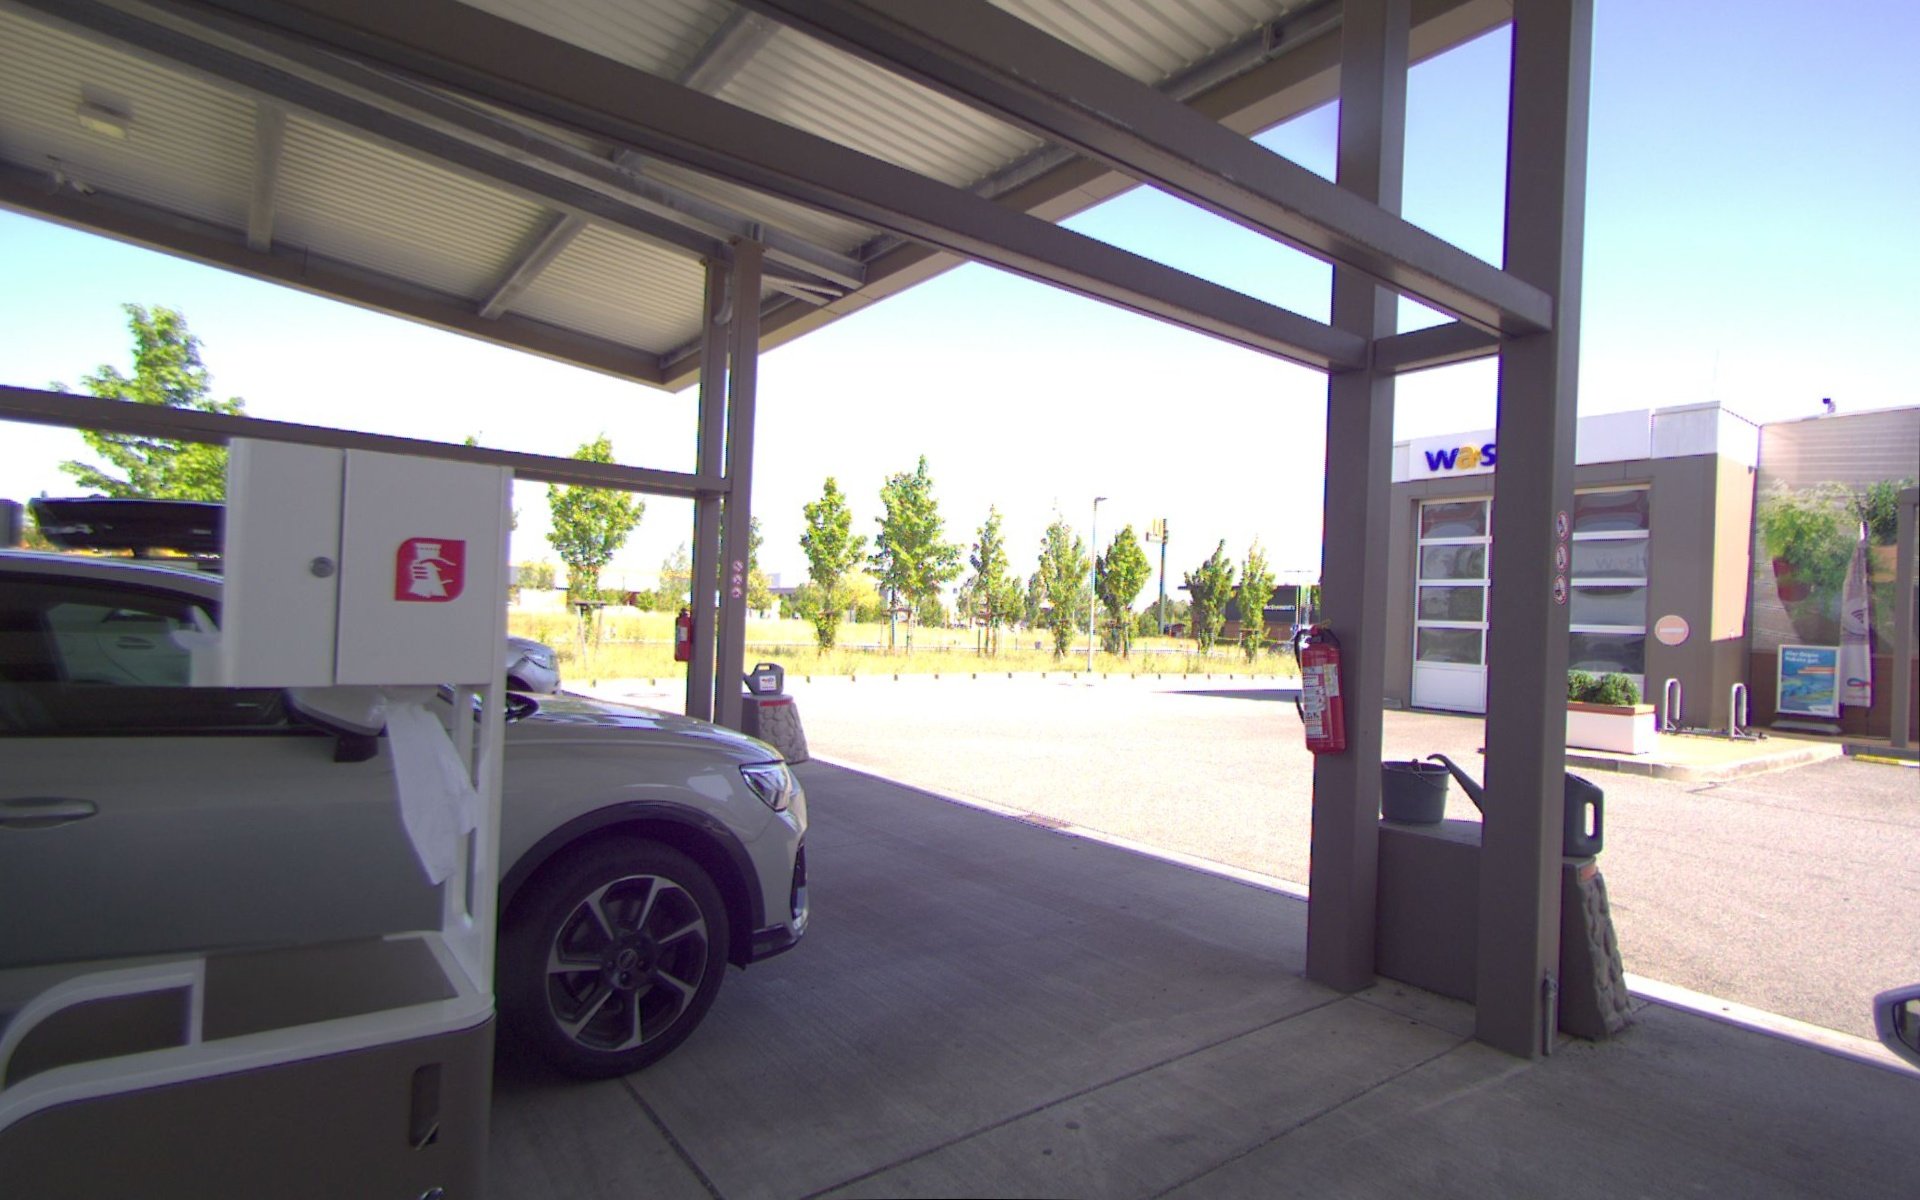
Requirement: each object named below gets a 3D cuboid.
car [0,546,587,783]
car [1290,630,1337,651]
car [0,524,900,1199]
[{"bbox_3d":[-6.033,0.524,9.253,4.501,1.710,1.843,2,-1,-41],"label":"car"},{"bbox_3d":[29.222,3.367,82.897,3.964,1.617,1.784,2,-1,-37],"label":"car"},{"bbox_3d":[-2.468,0.617,3.054,4.285,1.561,1.767,2,-1,-37],"label":"car"}]
